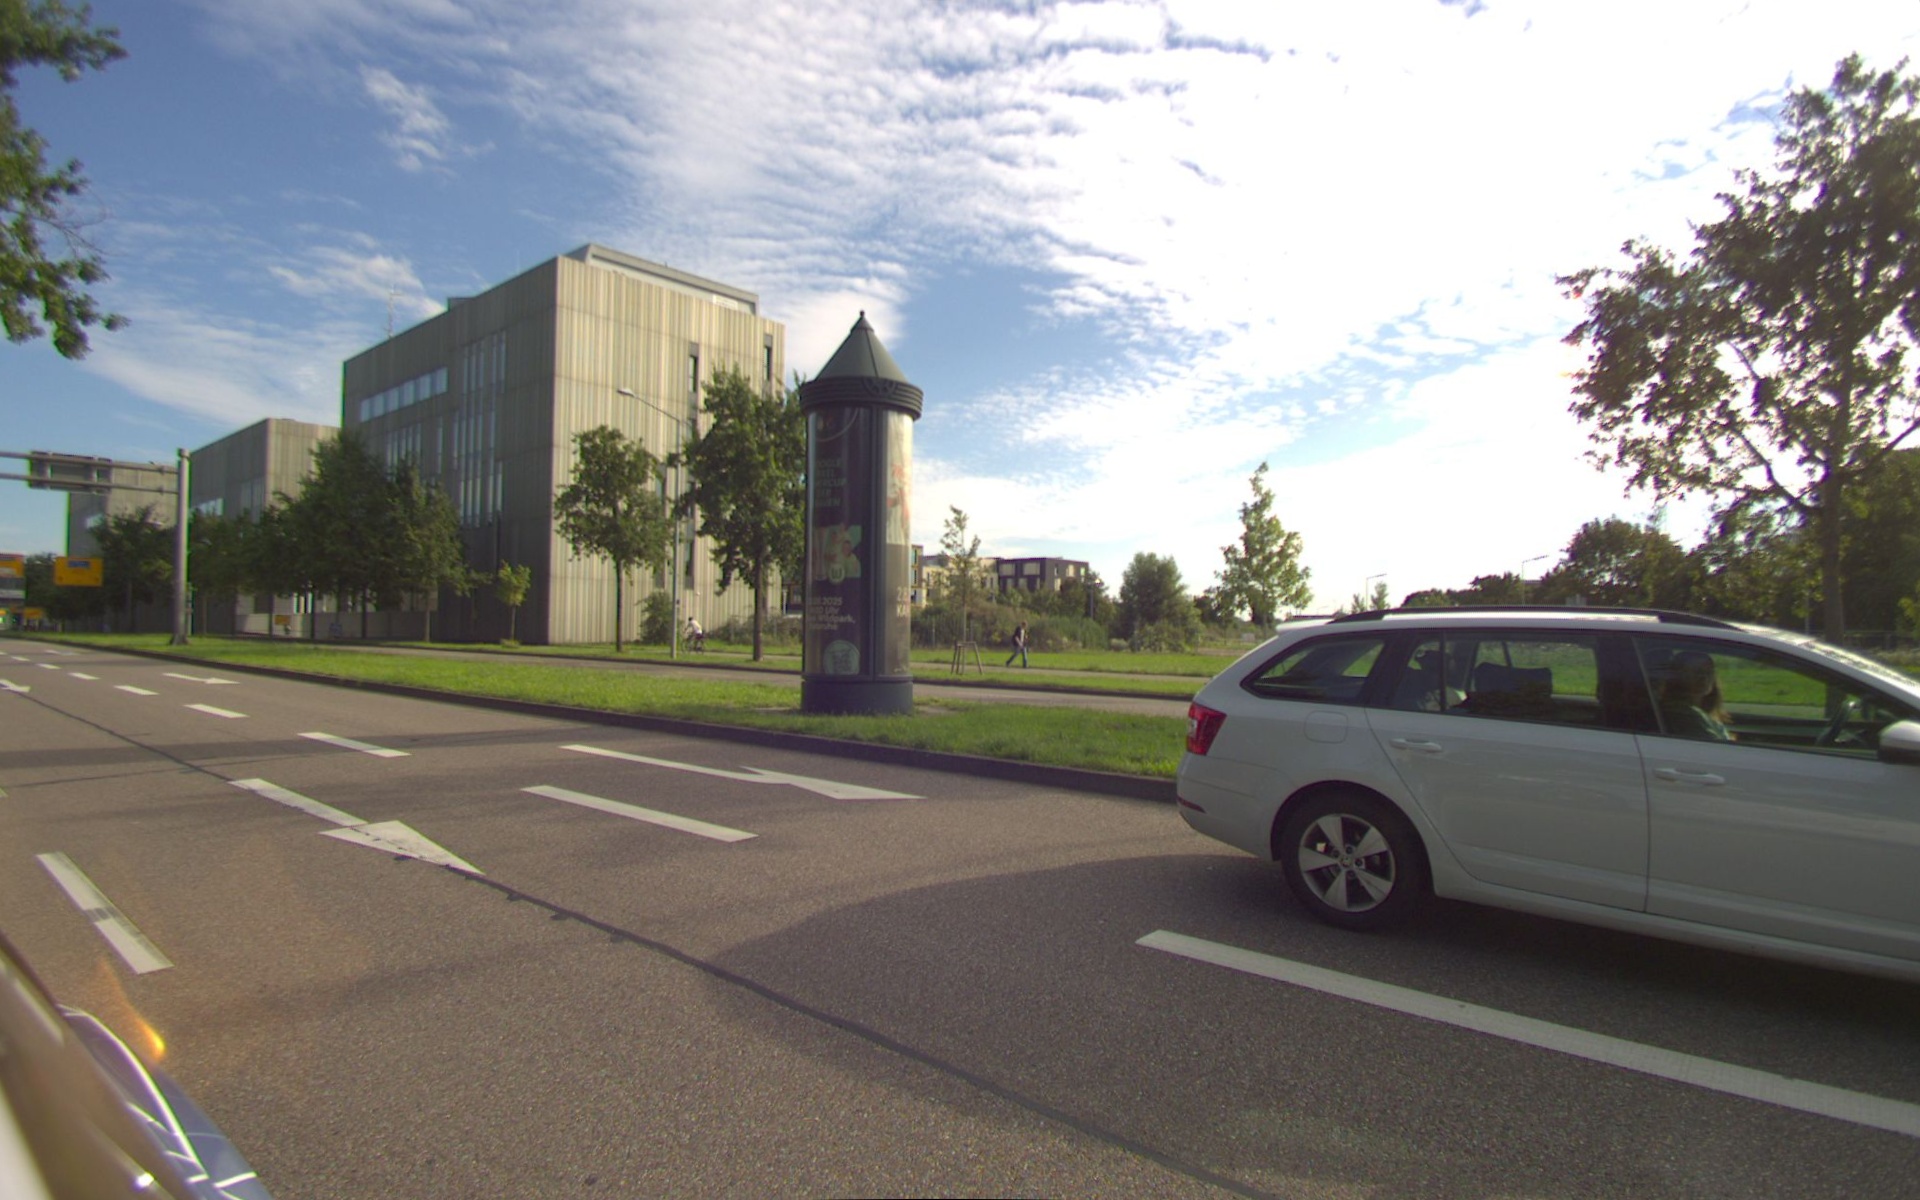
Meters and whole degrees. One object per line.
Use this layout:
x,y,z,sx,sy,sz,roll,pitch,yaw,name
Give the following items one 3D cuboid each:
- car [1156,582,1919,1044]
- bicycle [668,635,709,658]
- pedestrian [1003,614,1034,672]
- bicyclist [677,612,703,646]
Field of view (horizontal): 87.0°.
3.236,0.713,4.360,4.479,1.510,1.681,-1,-1,41,car
-12.312,2.115,45.900,1.910,0.989,0.885,-1,-3,41,bicycle
2.065,1.519,35.877,0.867,2.029,0.667,-1,-3,41,pedestrian
-12.235,1.321,45.875,0.989,1.537,0.698,-1,-3,41,bicyclist
